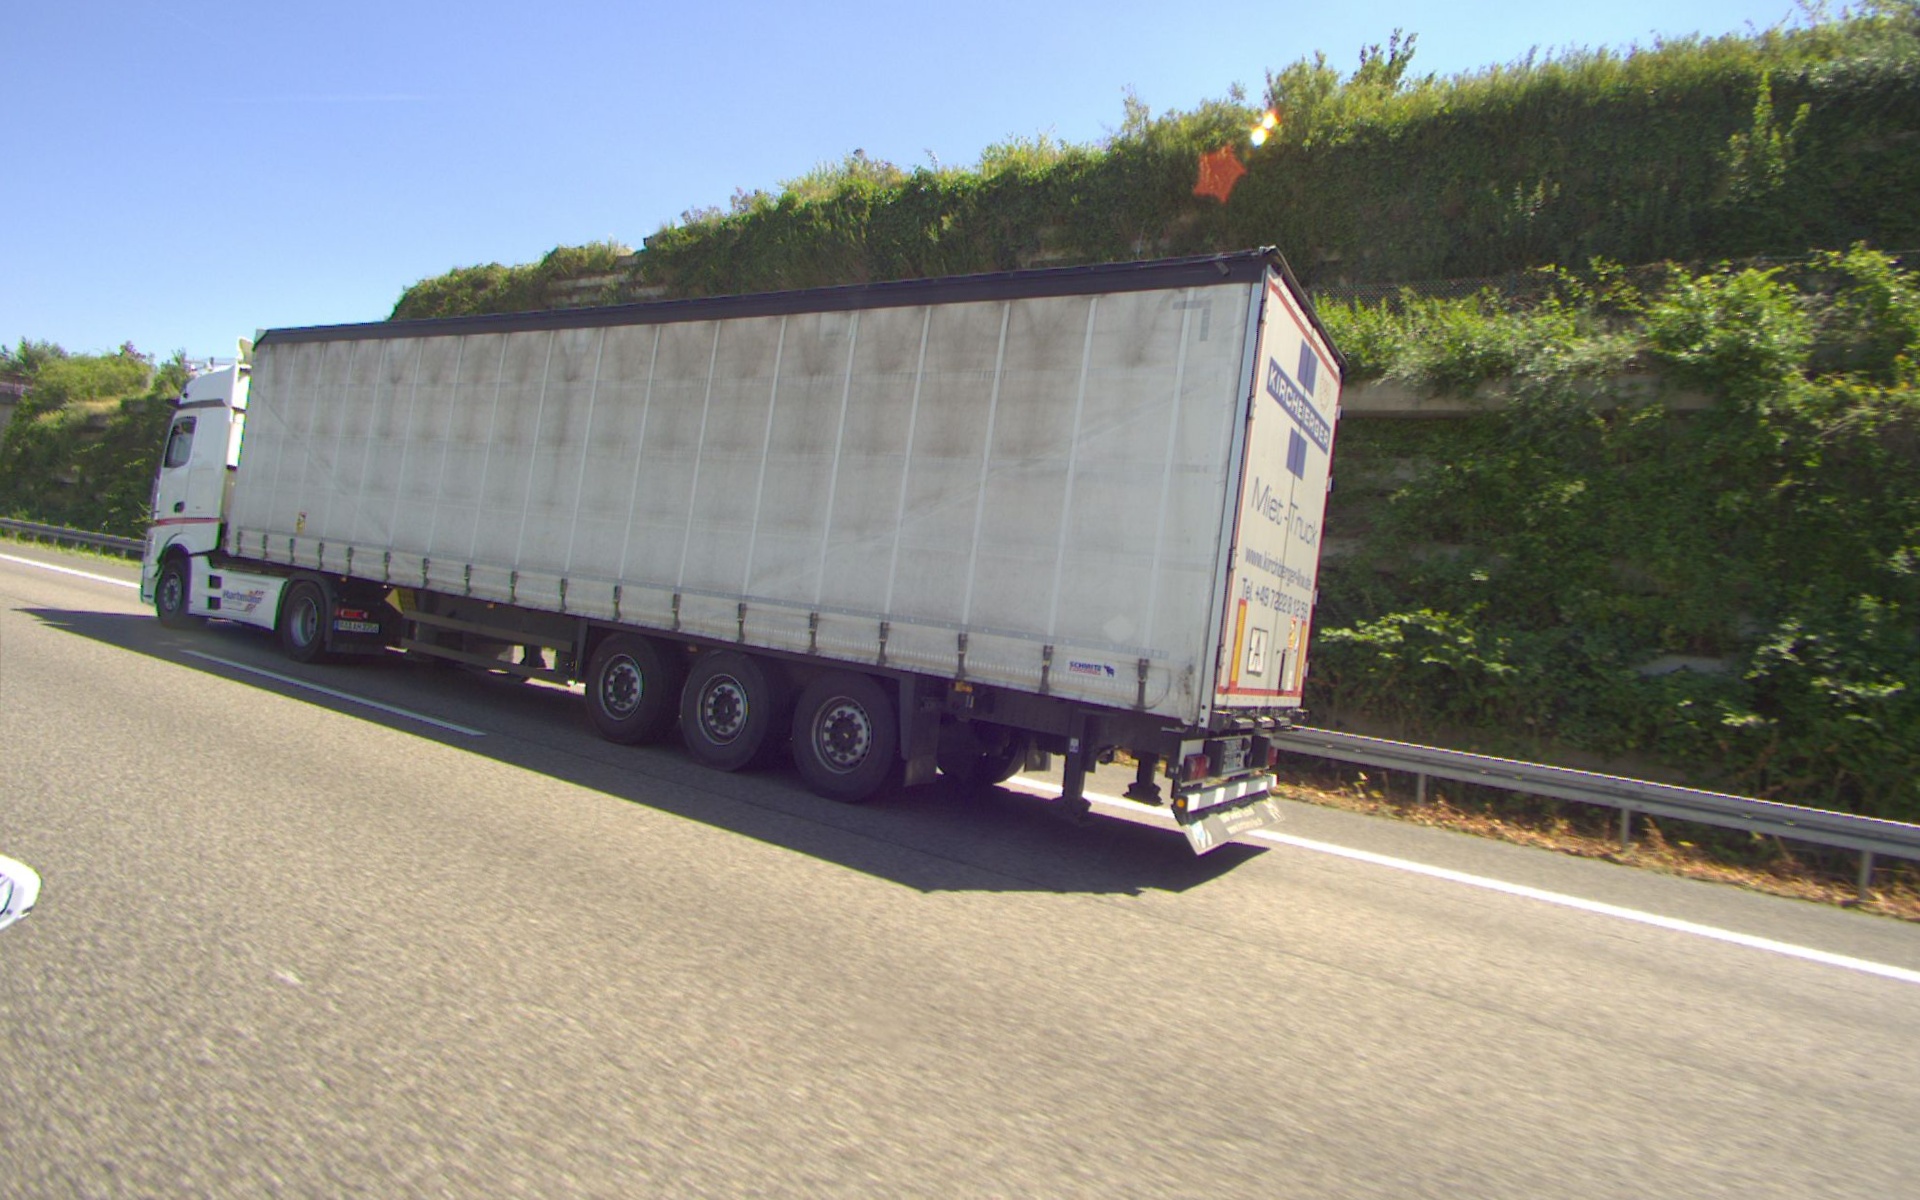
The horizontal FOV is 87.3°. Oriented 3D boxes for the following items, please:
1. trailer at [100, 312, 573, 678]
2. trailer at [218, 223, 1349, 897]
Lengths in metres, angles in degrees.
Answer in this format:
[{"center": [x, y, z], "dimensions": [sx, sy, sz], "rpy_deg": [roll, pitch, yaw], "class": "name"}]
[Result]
[{"center": [-9.050, -1.423, 14.377], "dimensions": [6.676, 4.152, 2.717], "rpy_deg": [7, 0, 31], "class": "trailer"}, {"center": [-3.134, -0.749, 10.728], "dimensions": [12.970, 4.152, 2.732], "rpy_deg": [6, 0, 31], "class": "trailer"}]
